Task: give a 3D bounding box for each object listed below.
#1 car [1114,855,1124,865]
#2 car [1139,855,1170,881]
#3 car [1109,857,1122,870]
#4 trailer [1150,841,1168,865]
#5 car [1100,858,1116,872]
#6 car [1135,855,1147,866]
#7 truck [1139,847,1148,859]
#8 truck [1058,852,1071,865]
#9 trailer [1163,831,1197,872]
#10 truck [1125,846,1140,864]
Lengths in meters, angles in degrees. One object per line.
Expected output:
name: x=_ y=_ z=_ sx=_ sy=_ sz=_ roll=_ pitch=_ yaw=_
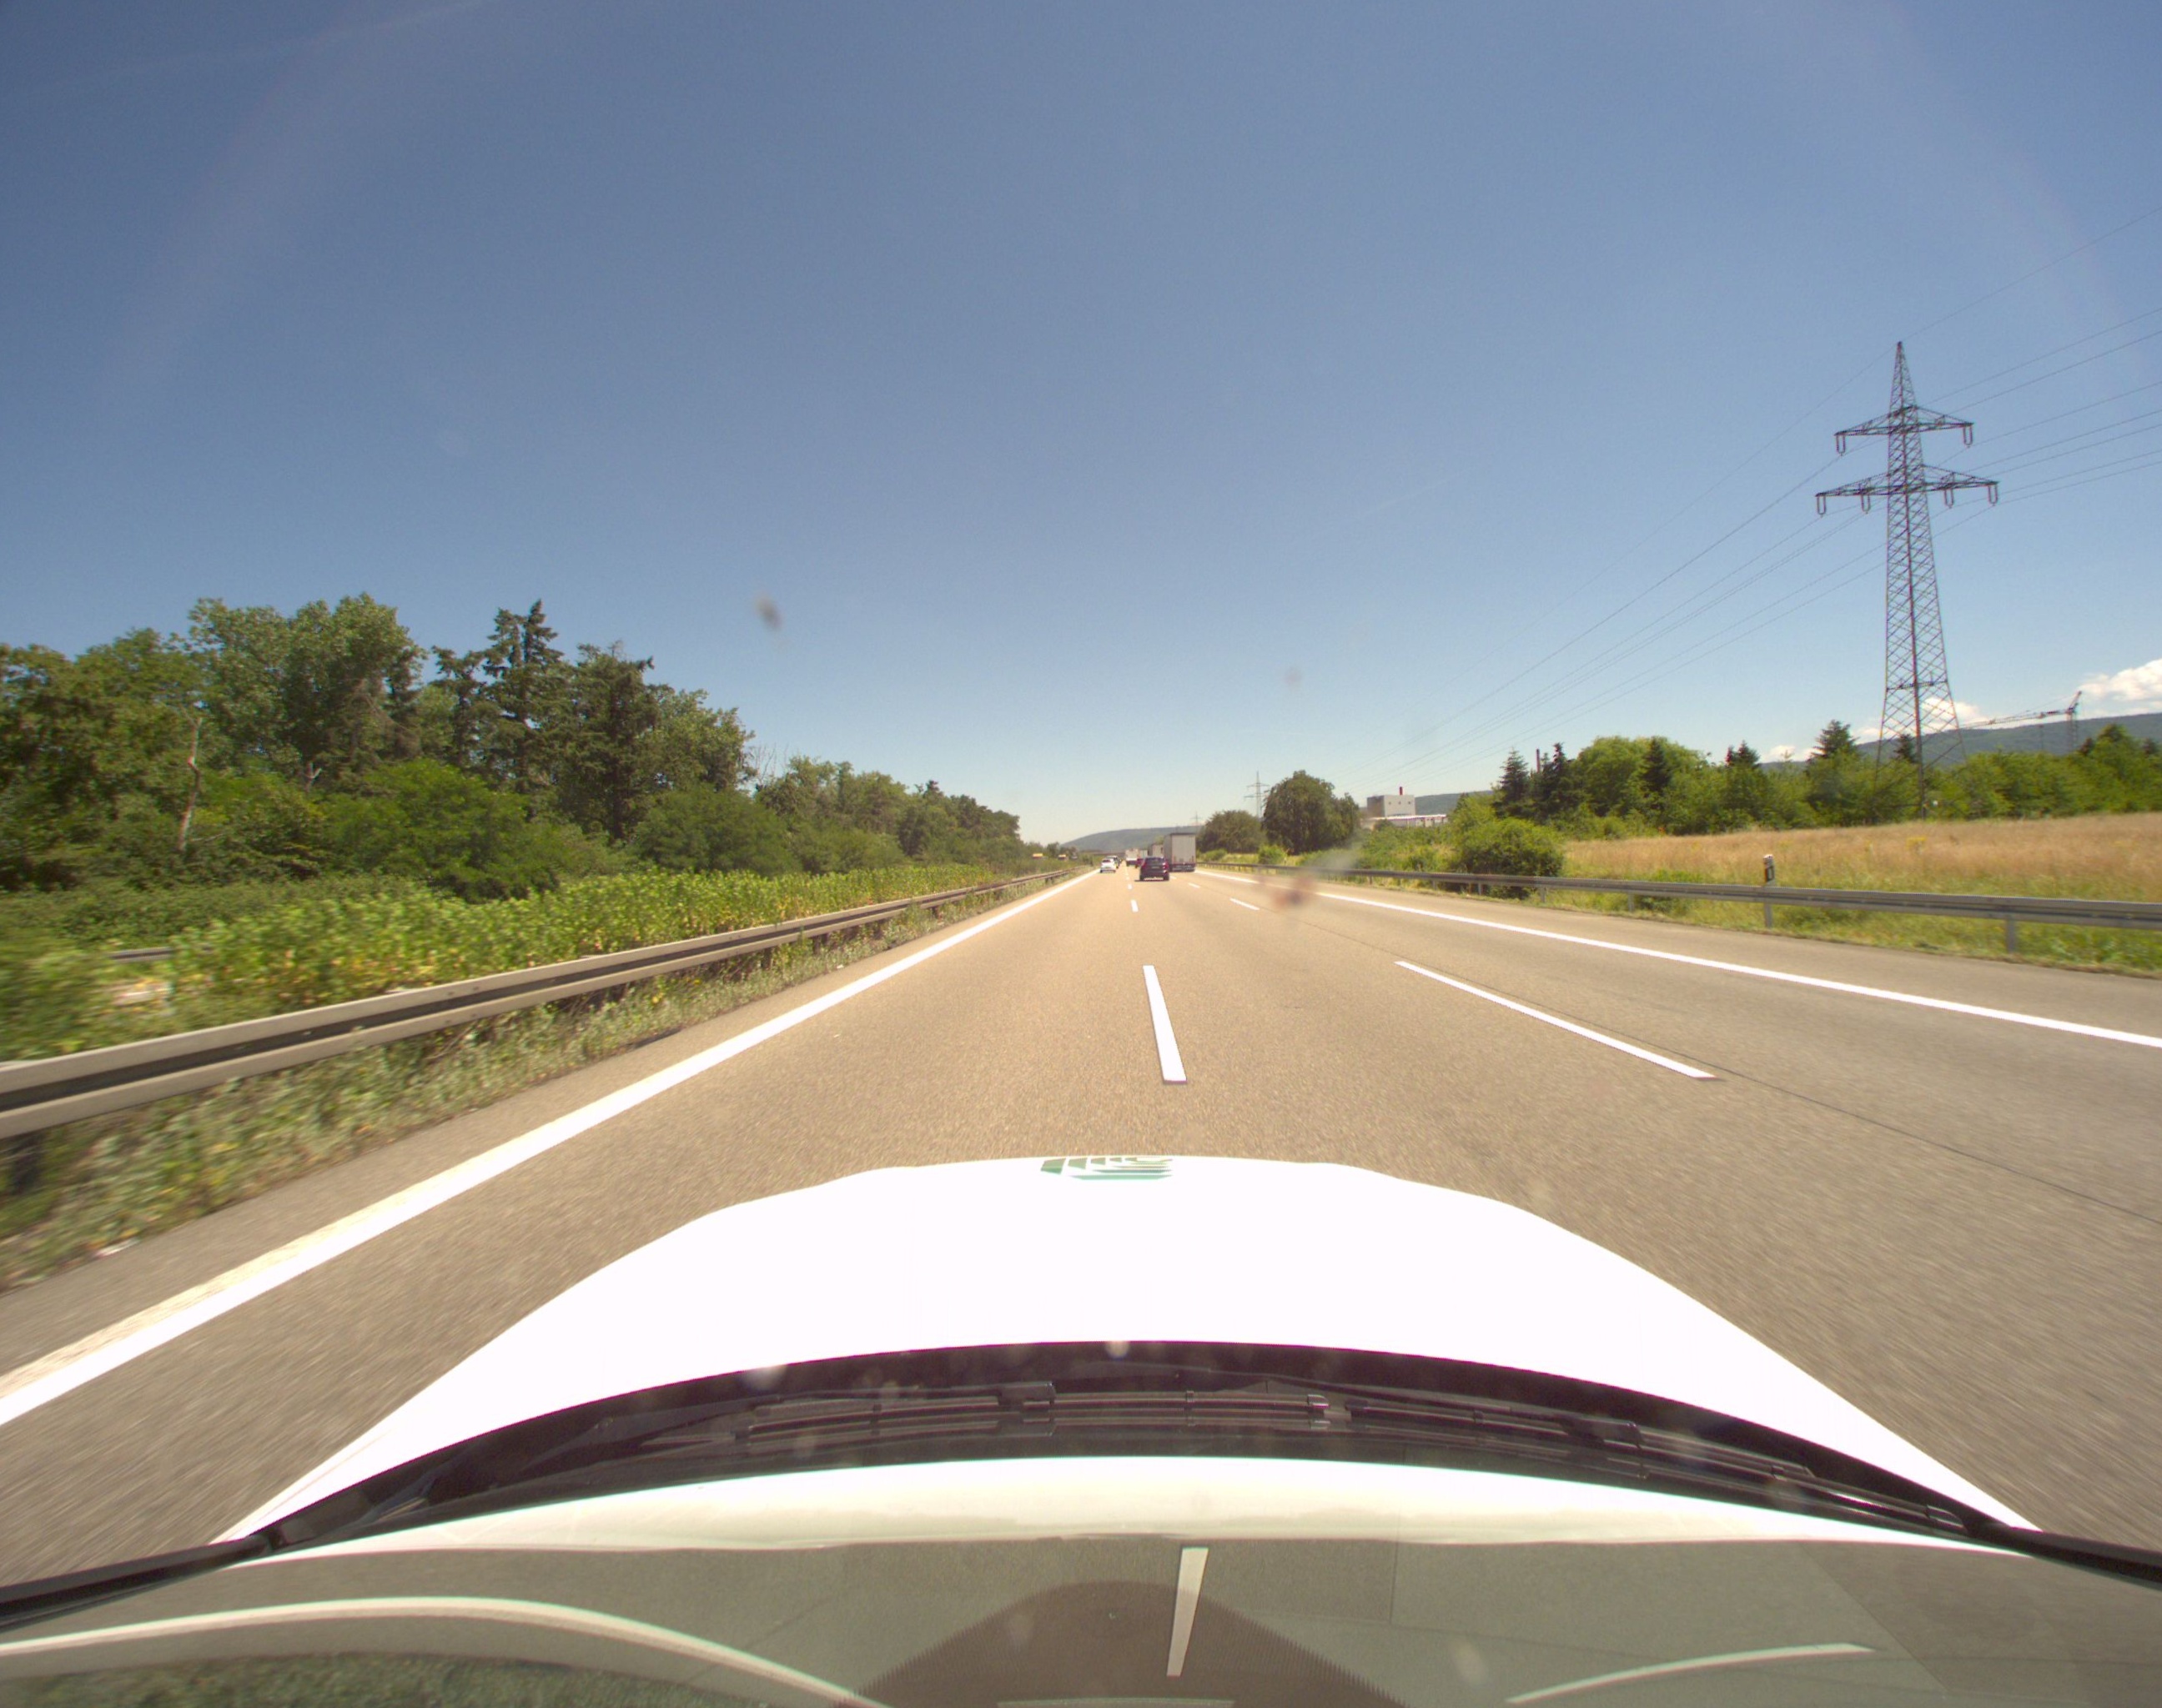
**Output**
car: x=7.902 y=1.239 z=168.843 sx=1.986 sy=2.013 sz=4.001 roll=-3 pitch=0 yaw=2
car: x=4.889 y=0.916 z=54.811 sx=1.866 sy=1.623 sz=4.006 roll=-1 pitch=0 yaw=3
car: x=5.122 y=1.416 z=121.759 sx=1.754 sy=1.850 sz=4.002 roll=-3 pitch=0 yaw=2
trailer: x=14.371 y=-0.115 z=150.995 sx=2.777 sy=4.164 sz=13.586 roll=-3 pitch=-1 yaw=4
car: x=2.986 y=1.173 z=89.226 sx=1.601 sy=1.468 sz=4.002 roll=-3 pitch=0 yaw=2
car: x=9.051 y=1.008 z=122.708 sx=1.796 sy=1.545 sz=4.003 roll=-1 pitch=-1 yaw=3
truck: x=18.511 y=-0.201 z=240.206 sx=2.212 sy=3.209 sz=10.392 roll=-3 pitch=0 yaw=3
truck: x=-4.918 y=1.439 z=248.902 sx=2.888 sy=3.706 sz=11.907 roll=-4 pitch=0 yaw=3
trailer: x=10.572 y=-0.206 z=88.469 sx=2.725 sy=4.107 sz=13.132 roll=-1 pitch=-1 yaw=3
truck: x=10.012 y=0.295 z=158.414 sx=2.771 sy=3.373 sz=8.133 roll=-1 pitch=-1 yaw=3
